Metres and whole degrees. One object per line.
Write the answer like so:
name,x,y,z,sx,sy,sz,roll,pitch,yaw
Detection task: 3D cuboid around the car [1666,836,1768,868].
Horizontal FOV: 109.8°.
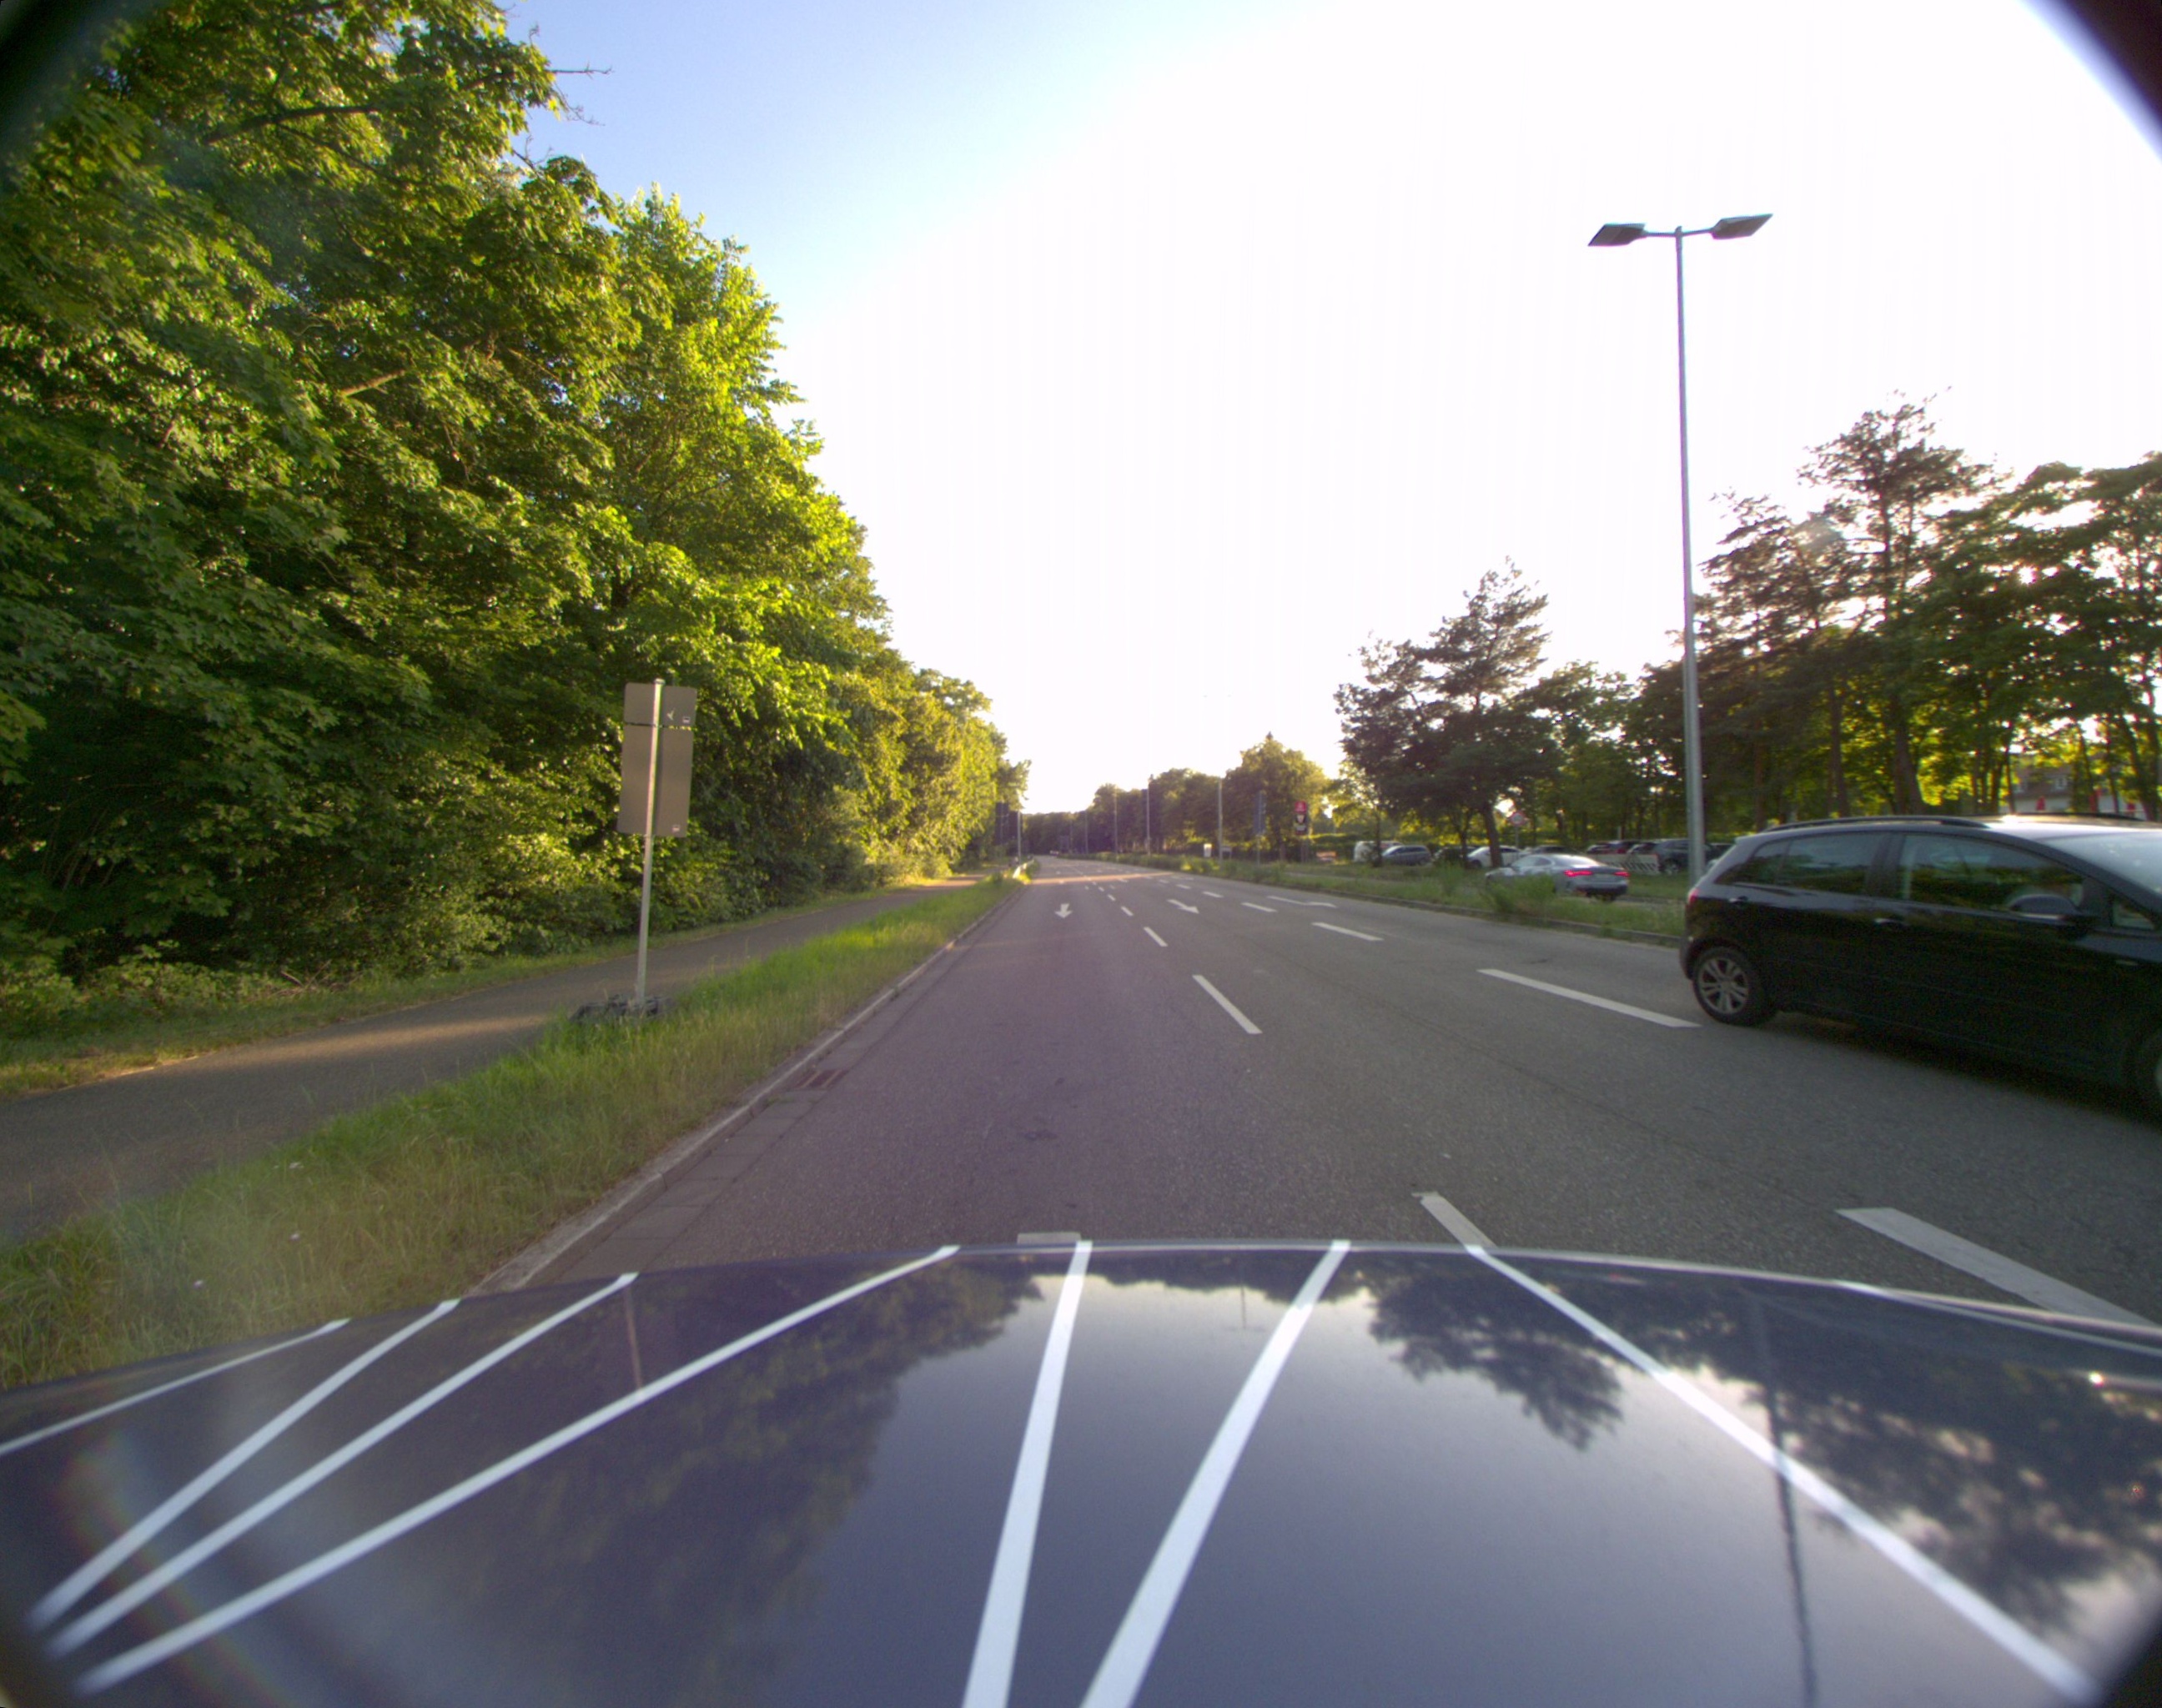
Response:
car,34.088,-0.119,40.788,3.997,1.641,1.766,-1,1,0

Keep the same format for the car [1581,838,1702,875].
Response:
car,26.473,0.110,35.965,4.525,1.608,1.771,-1,1,-3

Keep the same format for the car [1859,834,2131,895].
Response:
car,26.782,0.247,22.614,1.999,1.597,4.920,-1,0,-4

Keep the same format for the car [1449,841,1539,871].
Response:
car,25.177,0.132,46.393,4.497,1.743,1.909,-1,1,-1

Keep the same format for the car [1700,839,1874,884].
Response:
car,26.427,0.258,28.723,1.999,1.539,4.708,-1,0,-4

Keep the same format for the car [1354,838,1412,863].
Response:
car,24.230,-0.249,61.057,3.998,1.933,1.766,-1,1,-2

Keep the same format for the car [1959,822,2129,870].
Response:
car,34.988,-0.285,27.677,3.997,1.641,1.766,-1,1,-1

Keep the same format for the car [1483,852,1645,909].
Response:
car,13.939,0.696,22.306,1.896,1.433,4.499,-1,1,0

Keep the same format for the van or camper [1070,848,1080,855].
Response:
van or camper,-1.821,-0.869,227.501,2.000,2.002,4.573,-1,0,-11

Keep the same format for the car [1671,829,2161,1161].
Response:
car,5.985,0.636,4.375,1.999,1.543,3.999,-1,0,-2

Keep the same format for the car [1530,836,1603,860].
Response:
car,34.130,-0.399,53.469,3.997,1.641,1.766,-1,1,0

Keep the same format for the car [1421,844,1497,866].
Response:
car,24.148,0.075,48.634,3.997,1.304,1.732,-1,1,-1

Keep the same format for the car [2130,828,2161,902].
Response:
car,27.113,0.259,16.407,1.999,1.776,4.920,-1,1,-4

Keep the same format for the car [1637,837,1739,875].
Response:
car,26.179,0.077,32.829,3.099,1.518,1.659,-1,1,-2

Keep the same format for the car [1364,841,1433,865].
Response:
car,24.203,-0.097,58.018,4.498,1.787,1.909,-1,1,-2
